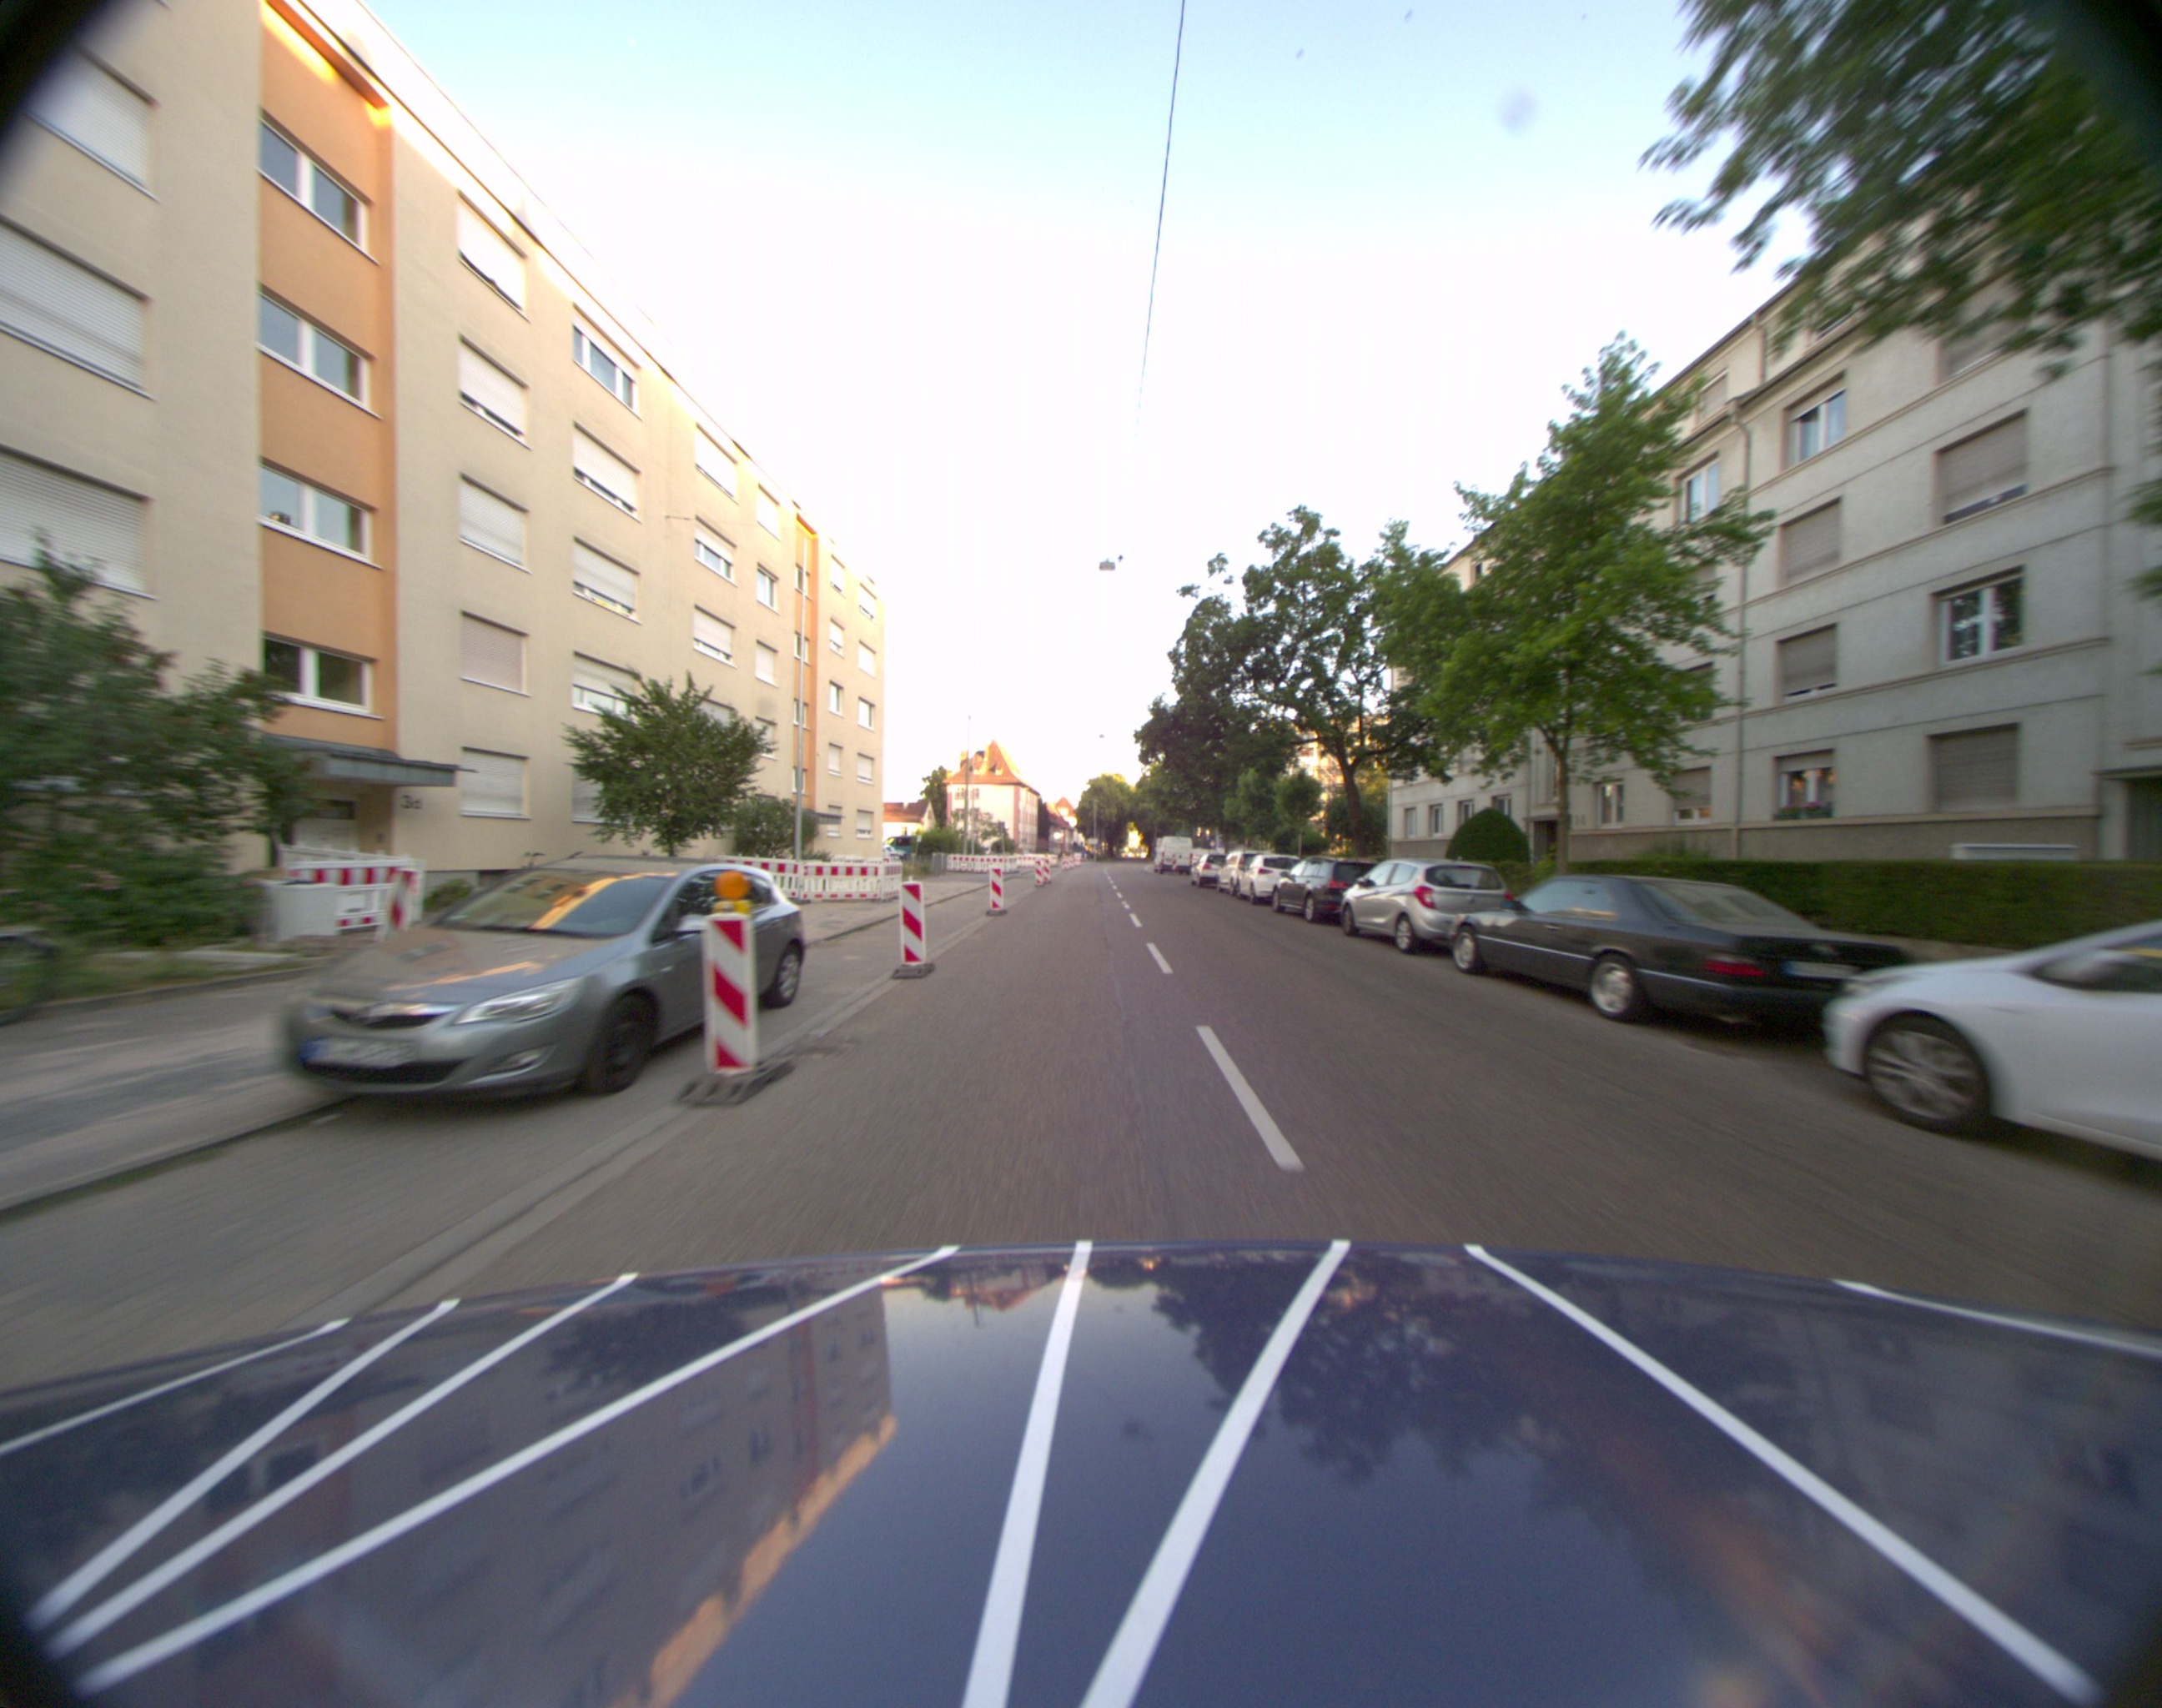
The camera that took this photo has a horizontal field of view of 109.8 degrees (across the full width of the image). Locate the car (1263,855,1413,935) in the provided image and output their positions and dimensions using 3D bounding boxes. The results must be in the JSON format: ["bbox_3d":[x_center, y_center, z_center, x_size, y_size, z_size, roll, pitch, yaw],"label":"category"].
[{"bbox_3d":[5.728,0.837,17.626,1.757,1.471,4.677,3,1,-1],"label":"car"}]

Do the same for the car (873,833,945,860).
[{"bbox_3d":[-13.644,-0.615,60.378,5.030,2.117,2.291,0,1,8],"label":"car"}]

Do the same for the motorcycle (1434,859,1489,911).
[{"bbox_3d":[10.290,0.800,20.612,0.588,1.317,1.828,0,1,1],"label":"motorcycle"}]

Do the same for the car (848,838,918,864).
[{"bbox_3d":[-14.392,-0.241,55.423,4.489,1.800,2.005,1,1,3],"label":"car"}]

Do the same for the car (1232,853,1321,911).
[{"bbox_3d":[5.819,0.778,23.113,1.756,1.471,3.944,3,1,2],"label":"car"}]

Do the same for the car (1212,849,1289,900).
[{"bbox_3d":[6.075,0.672,27.642,1.757,1.622,4.106,3,1,-1],"label":"car"}]

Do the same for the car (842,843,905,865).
[{"bbox_3d":[-14.370,0.017,52.768,3.839,1.444,1.695,1,1,3],"label":"car"}]

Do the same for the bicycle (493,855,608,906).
[{"bbox_3d":[-10.721,0.550,15.385,1.821,0.916,0.556,4,2,-40],"label":"bicycle"}]

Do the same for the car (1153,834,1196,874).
[{"bbox_3d":[6.362,-0.014,52.476,2.184,2.447,6.102,3,1,1],"label":"car"}]

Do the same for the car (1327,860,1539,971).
[{"bbox_3d":[5.664,0.901,12.765,1.679,1.451,3.704,3,1,-2],"label":"car"}]

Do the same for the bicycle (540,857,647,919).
[{"bbox_3d":[-9.242,0.630,14.416,1.755,0.981,0.558,5,2,10],"label":"bicycle"}]

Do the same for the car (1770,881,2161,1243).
[{"bbox_3d":[5.459,0.969,2.934,1.696,1.451,4.144,3,1,-1],"label":"car"}]

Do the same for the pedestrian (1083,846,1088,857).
[{"bbox_3d":[0.681,-0.329,109.212,0.716,1.600,0.518,0,1,-4],"label":"pedestrian"}]

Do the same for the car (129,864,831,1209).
[{"bbox_3d":[-3.745,0.934,6.045,1.780,1.482,4.573,4,1,2],"label":"car"}]

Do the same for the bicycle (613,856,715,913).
[{"bbox_3d":[-8.845,0.641,16.147,1.815,1.017,0.558,5,2,2],"label":"bicycle"}]

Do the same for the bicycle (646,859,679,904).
[{"bbox_3d":[-9.598,0.621,17.444,0.559,0.860,1.610,4,2,-27],"label":"bicycle"}]

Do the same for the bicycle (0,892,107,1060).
[{"bbox_3d":[-8.015,0.891,5.092,0.557,1.165,1.817,0,1,3],"label":"bicycle"}]

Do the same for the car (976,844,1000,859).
[{"bbox_3d":[-10.255,-0.310,84.374,1.919,1.620,4.808,0,1,2],"label":"car"}]

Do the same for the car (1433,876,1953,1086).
[{"bbox_3d":[5.639,1.017,7.973,1.678,1.324,4.579,3,1,0],"label":"car"}]

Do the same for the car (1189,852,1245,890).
[{"bbox_3d":[5.842,0.680,33.134,1.756,1.463,4.224,3,1,2],"label":"car"}]
